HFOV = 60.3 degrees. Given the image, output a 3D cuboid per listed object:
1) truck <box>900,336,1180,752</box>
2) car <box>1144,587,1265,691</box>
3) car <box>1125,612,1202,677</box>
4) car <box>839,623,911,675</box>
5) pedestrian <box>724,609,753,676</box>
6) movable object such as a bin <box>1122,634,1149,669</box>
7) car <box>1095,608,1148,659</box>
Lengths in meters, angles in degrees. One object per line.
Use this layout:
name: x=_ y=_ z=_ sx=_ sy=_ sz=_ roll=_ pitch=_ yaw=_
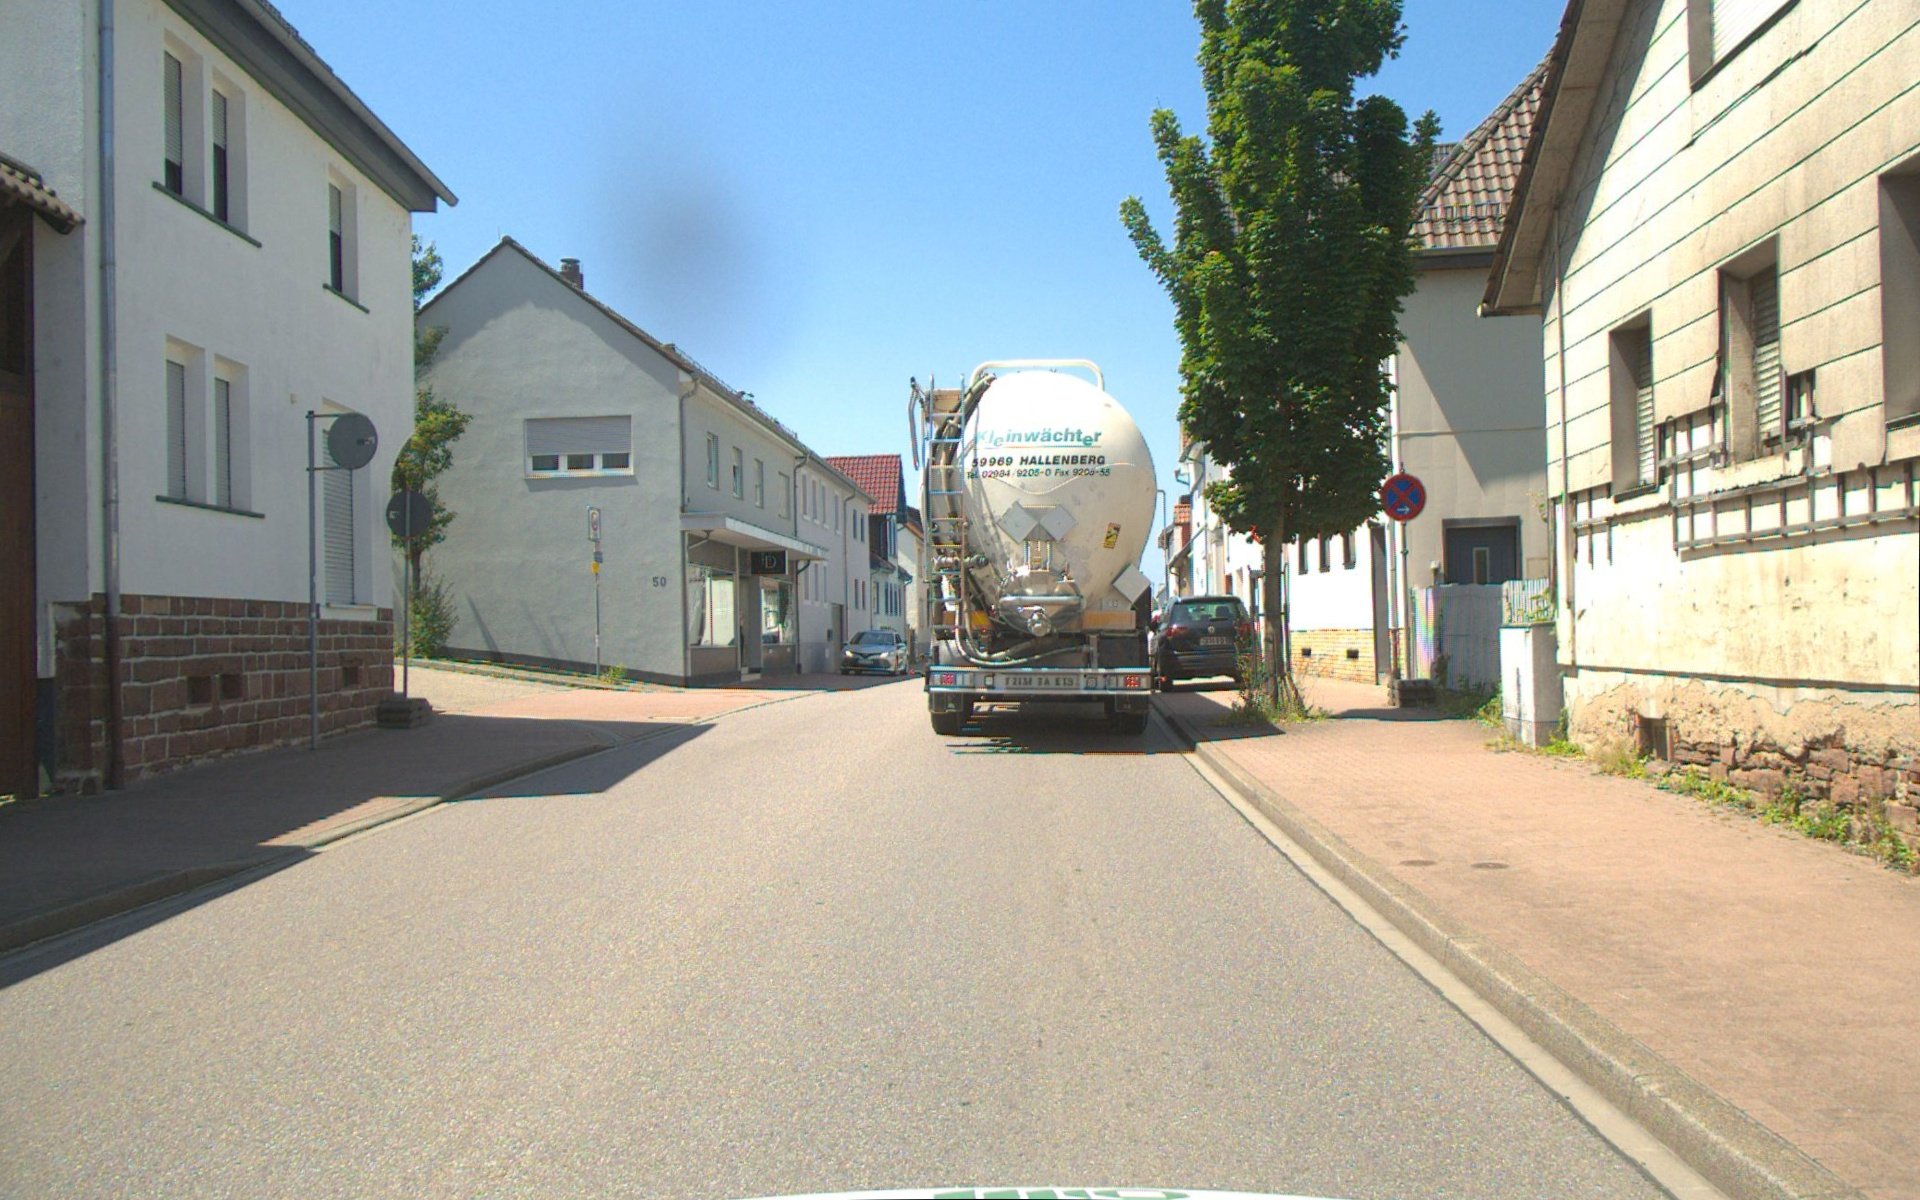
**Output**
truck: x=0.992 y=-0.488 z=20.227 sx=2.675 sy=4.030 sz=8.144 roll=1 pitch=-1 yaw=3
car: x=4.361 y=0.688 z=30.088 sx=1.764 sy=1.642 sz=4.550 roll=-3 pitch=-1 yaw=4
car: x=5.219 y=1.160 z=42.966 sx=1.665 sy=1.472 sz=4.838 roll=-4 pitch=-2 yaw=4
car: x=-2.761 y=1.609 z=54.466 sx=1.770 sy=1.584 sz=4.566 roll=1 pitch=-2 yaw=4
pedestrian: x=-5.736 y=1.095 z=42.908 sx=0.611 sy=1.714 sz=0.771 roll=-1 pitch=-2 yaw=3
movable object such as a bin: x=5.525 y=1.609 z=51.994 sx=0.642 sy=1.053 sz=0.684 roll=-4 pitch=-2 yaw=20
car: x=6.796 y=1.421 z=69.959 sx=1.905 sy=2.005 sz=4.786 roll=-2 pitch=-2 yaw=2
